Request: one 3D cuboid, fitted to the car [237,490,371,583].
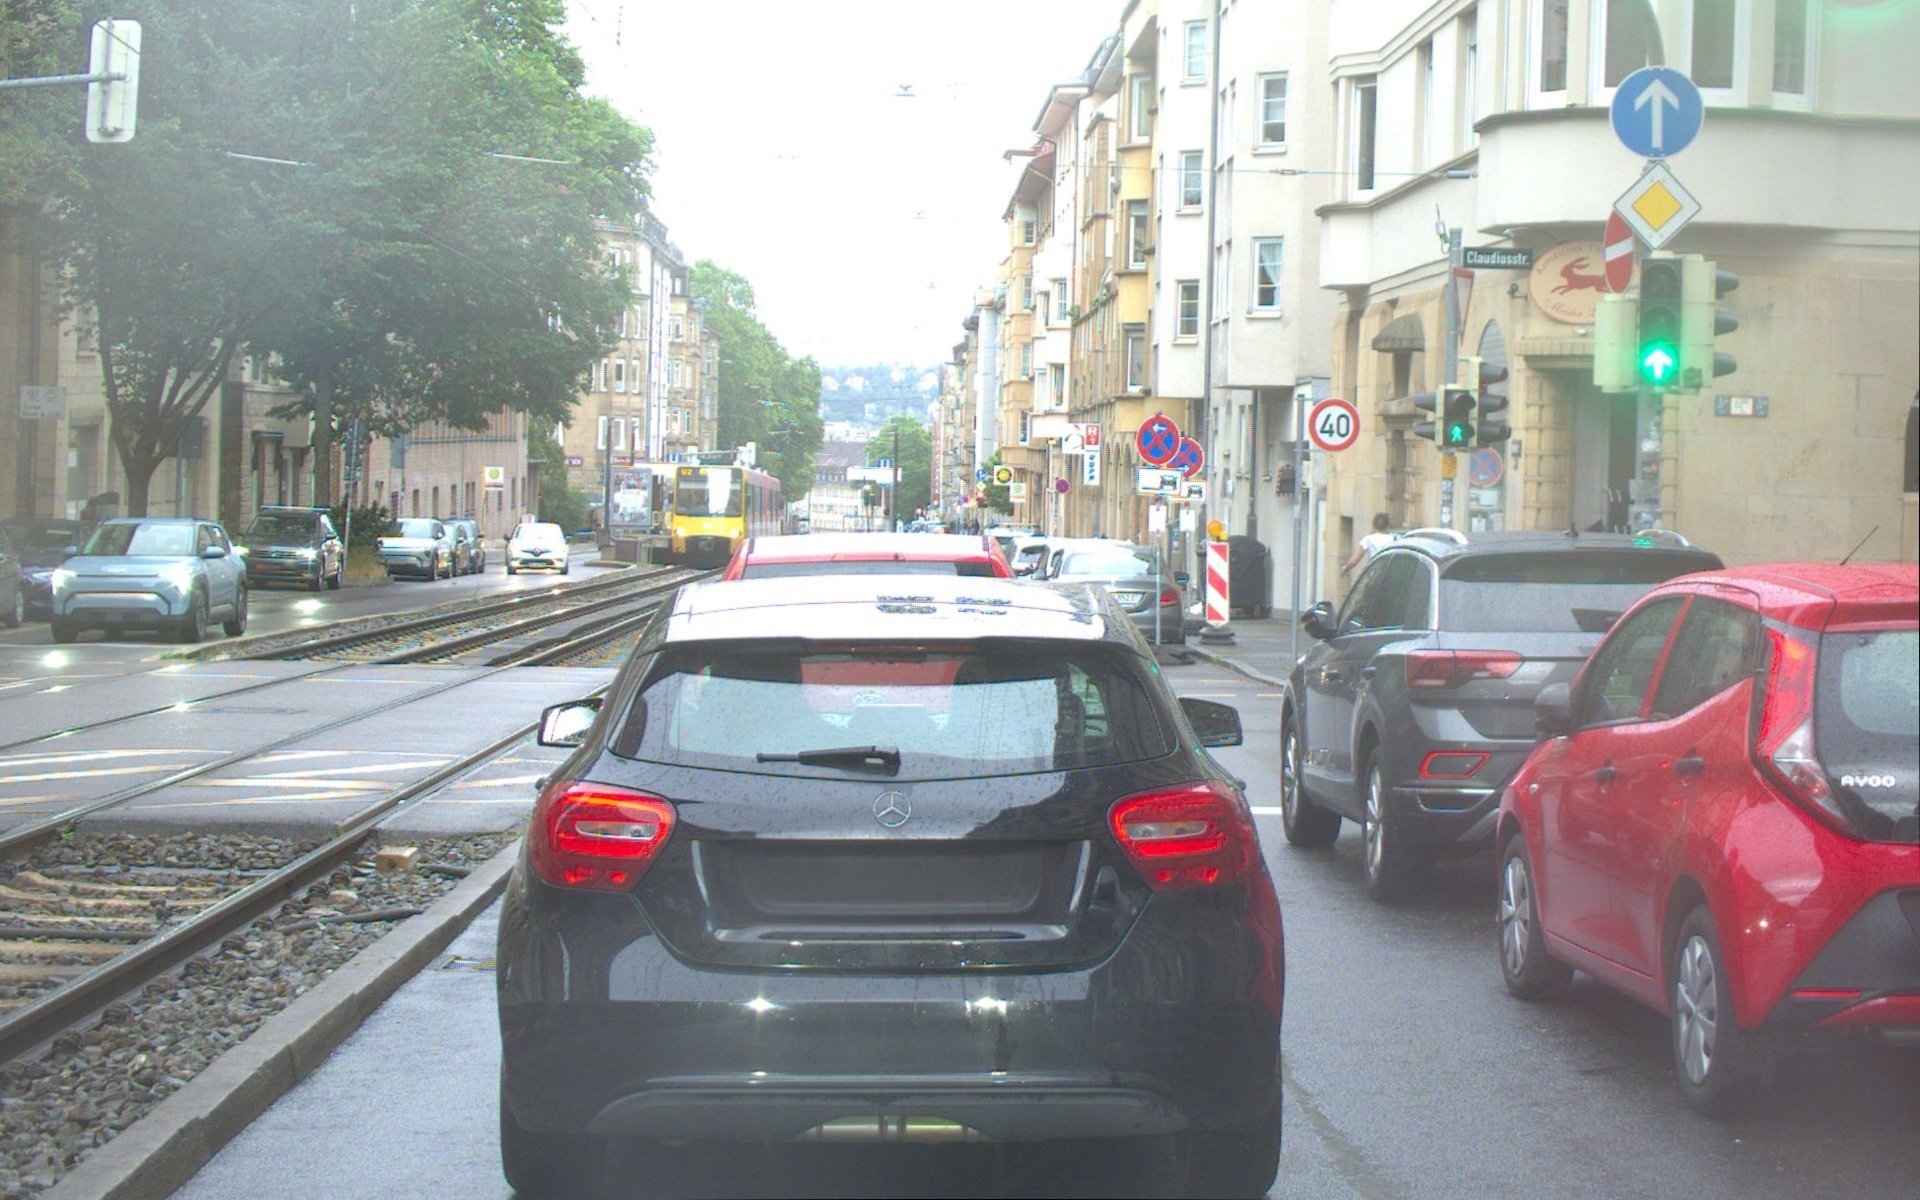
[{"bbox_3d":[-13.652,-1.348,71.794,1.953,1.736,4.780,4,1,-2],"label":"car"}]

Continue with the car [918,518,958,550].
[{"bbox_3d":[-1.089,-3.300,171.707,1.887,1.520,4.245,2,1,1],"label":"car"}]

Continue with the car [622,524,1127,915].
[{"bbox_3d":[-0.370,0.448,16.016,1.993,1.520,4.246,2,1,-1],"label":"car"}]

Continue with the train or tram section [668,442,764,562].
[{"bbox_3d":[-8.809,-3.550,125.831,2.745,4.048,17.216,1,1,-2],"label":"train or tram section"}]

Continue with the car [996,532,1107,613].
[{"bbox_3d":[1.604,-0.497,61.666,1.789,1.381,4.395,1,1,-1],"label":"car"}]

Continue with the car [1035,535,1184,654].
[{"bbox_3d":[1.834,-0.088,43.346,1.711,1.405,4.817,1,1,1],"label":"car"}]

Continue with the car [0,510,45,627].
[{"bbox_3d":[-13.423,-0.424,45.416,1.689,1.524,4.176,1,1,-2],"label":"car"}]

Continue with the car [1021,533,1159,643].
[{"bbox_3d":[1.799,-0.184,48.713,1.712,1.463,4.774,1,1,-1],"label":"car"}]

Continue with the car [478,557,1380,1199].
[{"bbox_3d":[-0.088,0.637,9.028,1.834,1.448,3.902,1,1,-1],"label":"car"}]

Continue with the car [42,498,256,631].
[{"bbox_3d":[-10.404,-0.458,44.370,1.921,1.612,4.129,1,1,-2],"label":"car"}]

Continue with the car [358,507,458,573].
[{"bbox_3d":[-14.268,-1.562,89.041,1.961,1.600,4.329,2,2,-2],"label":"car"}]

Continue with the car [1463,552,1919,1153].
[{"bbox_3d":[2.719,0.617,10.238,1.705,1.448,3.533,2,1,-3],"label":"car"}]

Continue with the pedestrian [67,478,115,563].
[{"bbox_3d":[-17.177,-1.571,67.936,0.728,1.657,0.771,2,1,-1],"label":"pedestrian"}]

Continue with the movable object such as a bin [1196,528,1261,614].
[{"bbox_3d":[4.635,-0.509,59.497,0.980,1.463,1.273,1,0,-1],"label":"movable object such as a bin"}]

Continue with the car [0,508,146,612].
[{"bbox_3d":[-13.469,-0.597,50.971,1.780,1.455,4.979,1,1,-2],"label":"car"}]

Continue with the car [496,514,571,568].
[{"bbox_3d":[-12.264,-1.680,99.040,1.780,1.497,4.063,1,1,-2],"label":"car"}]

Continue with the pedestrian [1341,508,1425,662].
[{"bbox_3d":[4.676,-0.169,38.022,0.804,1.681,0.754,1,0,-1],"label":"pedestrian"}]

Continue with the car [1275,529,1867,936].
[{"bbox_3d":[2.585,0.487,15.510,1.867,1.543,3.991,2,1,-1],"label":"car"}]

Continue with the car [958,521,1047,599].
[{"bbox_3d":[0.936,-0.863,74.210,1.841,1.602,4.760,1,1,1],"label":"car"}]
